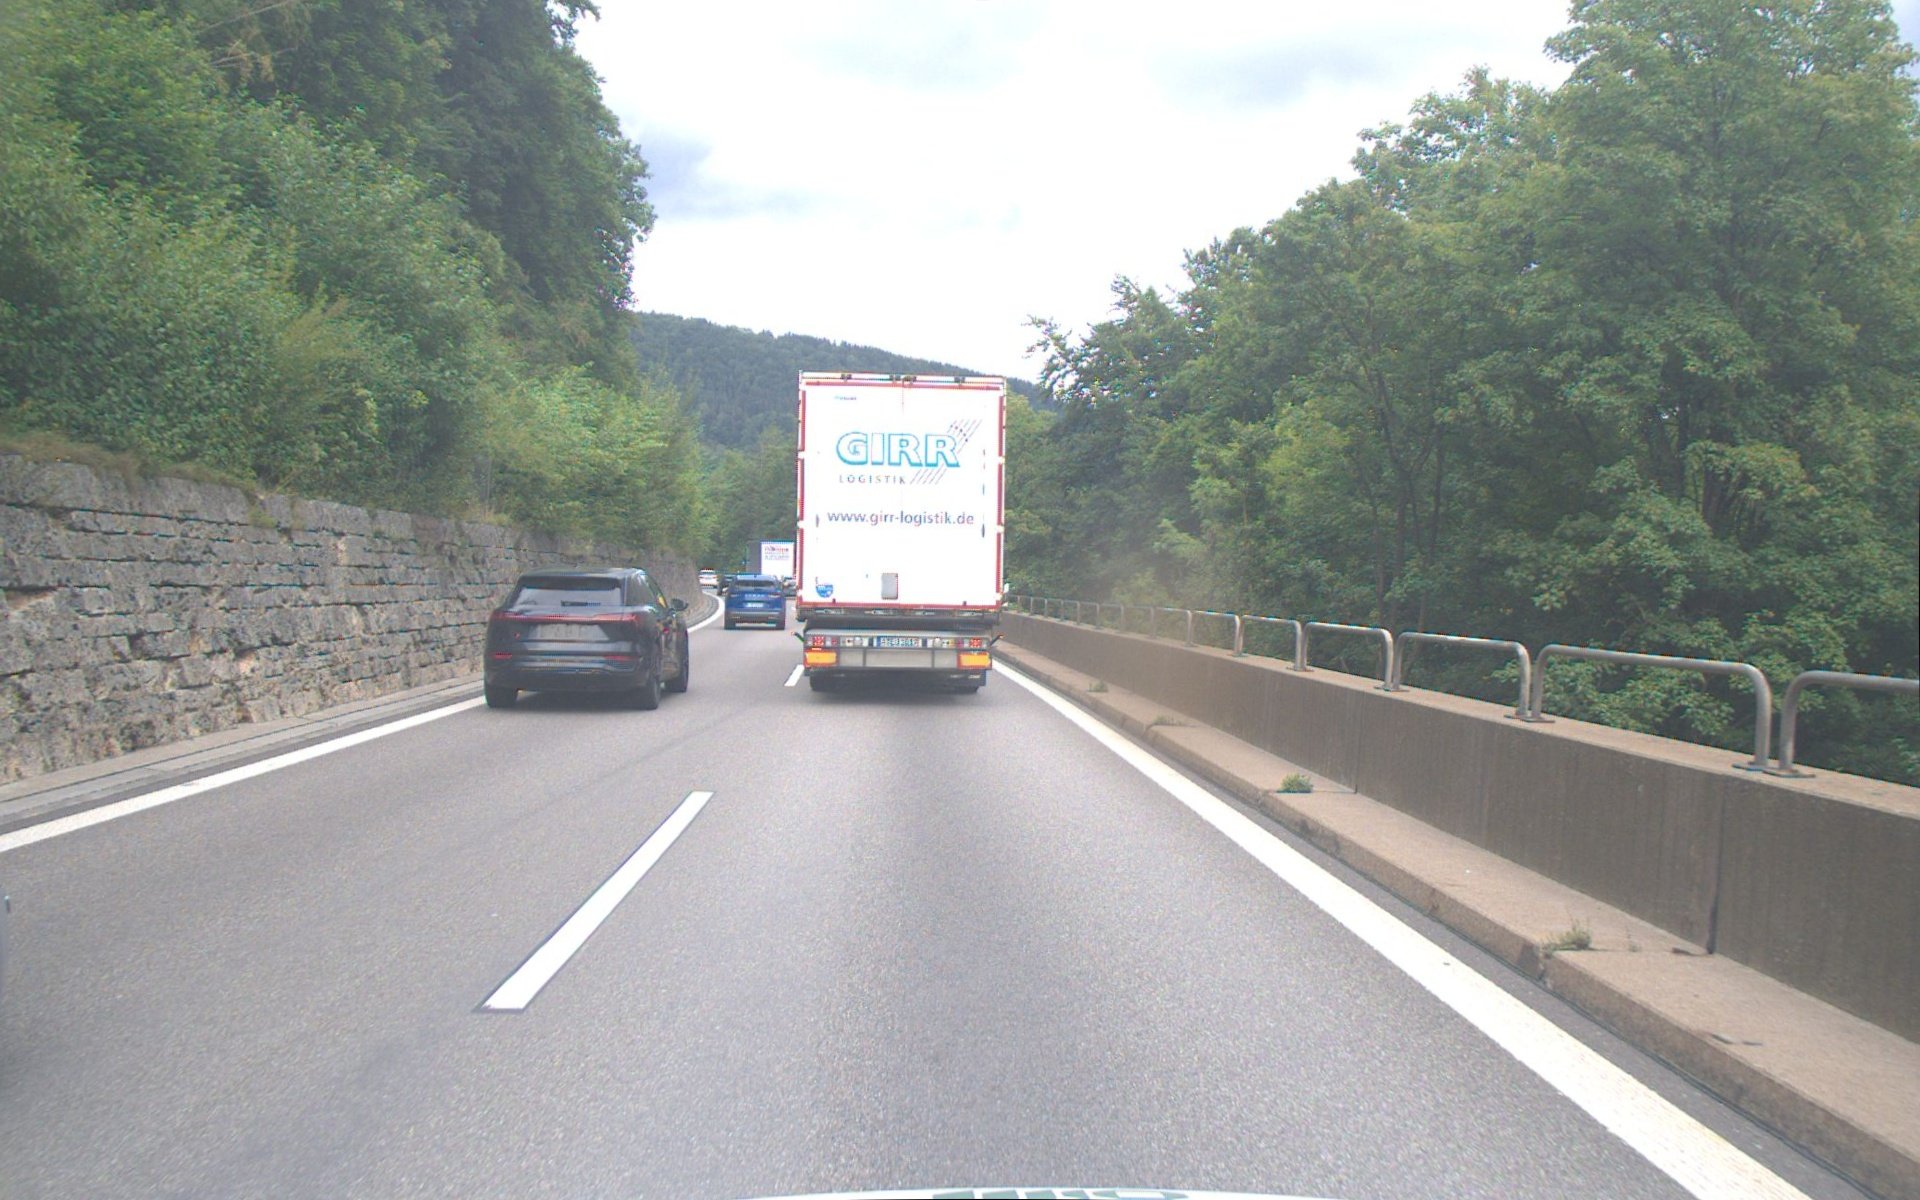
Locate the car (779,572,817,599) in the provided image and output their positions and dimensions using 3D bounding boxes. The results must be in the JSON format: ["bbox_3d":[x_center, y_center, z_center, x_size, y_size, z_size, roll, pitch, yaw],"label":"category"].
[{"bbox_3d":[-10.467,-0.926,106.907,2.024,1.683,3.989,0,0,-12],"label":"car"}]

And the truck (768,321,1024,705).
[{"bbox_3d":[-1.200,-1.096,27.299,3.023,4.542,15.145,0,0,-3],"label":"truck"}]

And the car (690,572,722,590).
[{"bbox_3d":[-22.950,-1.719,149.443,1.871,1.577,4.221,2,1,-22],"label":"car"}]

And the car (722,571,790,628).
[{"bbox_3d":[-6.239,-0.048,50.781,1.955,1.660,5.001,1,1,-7],"label":"car"}]

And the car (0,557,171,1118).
[{"bbox_3d":[-3.423,0.651,3.257,1.647,1.541,4.581,0,0,-2],"label":"car"}]

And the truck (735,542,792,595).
[{"bbox_3d":[-15.396,-2.404,128.844,2.591,3.925,12.309,0,0,-15],"label":"truck"}]

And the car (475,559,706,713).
[{"bbox_3d":[-4.392,0.370,20.436,1.954,1.660,5.006,0,0,-3],"label":"car"}]

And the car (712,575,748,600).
[{"bbox_3d":[-16.250,-0.901,116.889,1.961,1.623,4.336,-1,1,-15],"label":"car"}]
